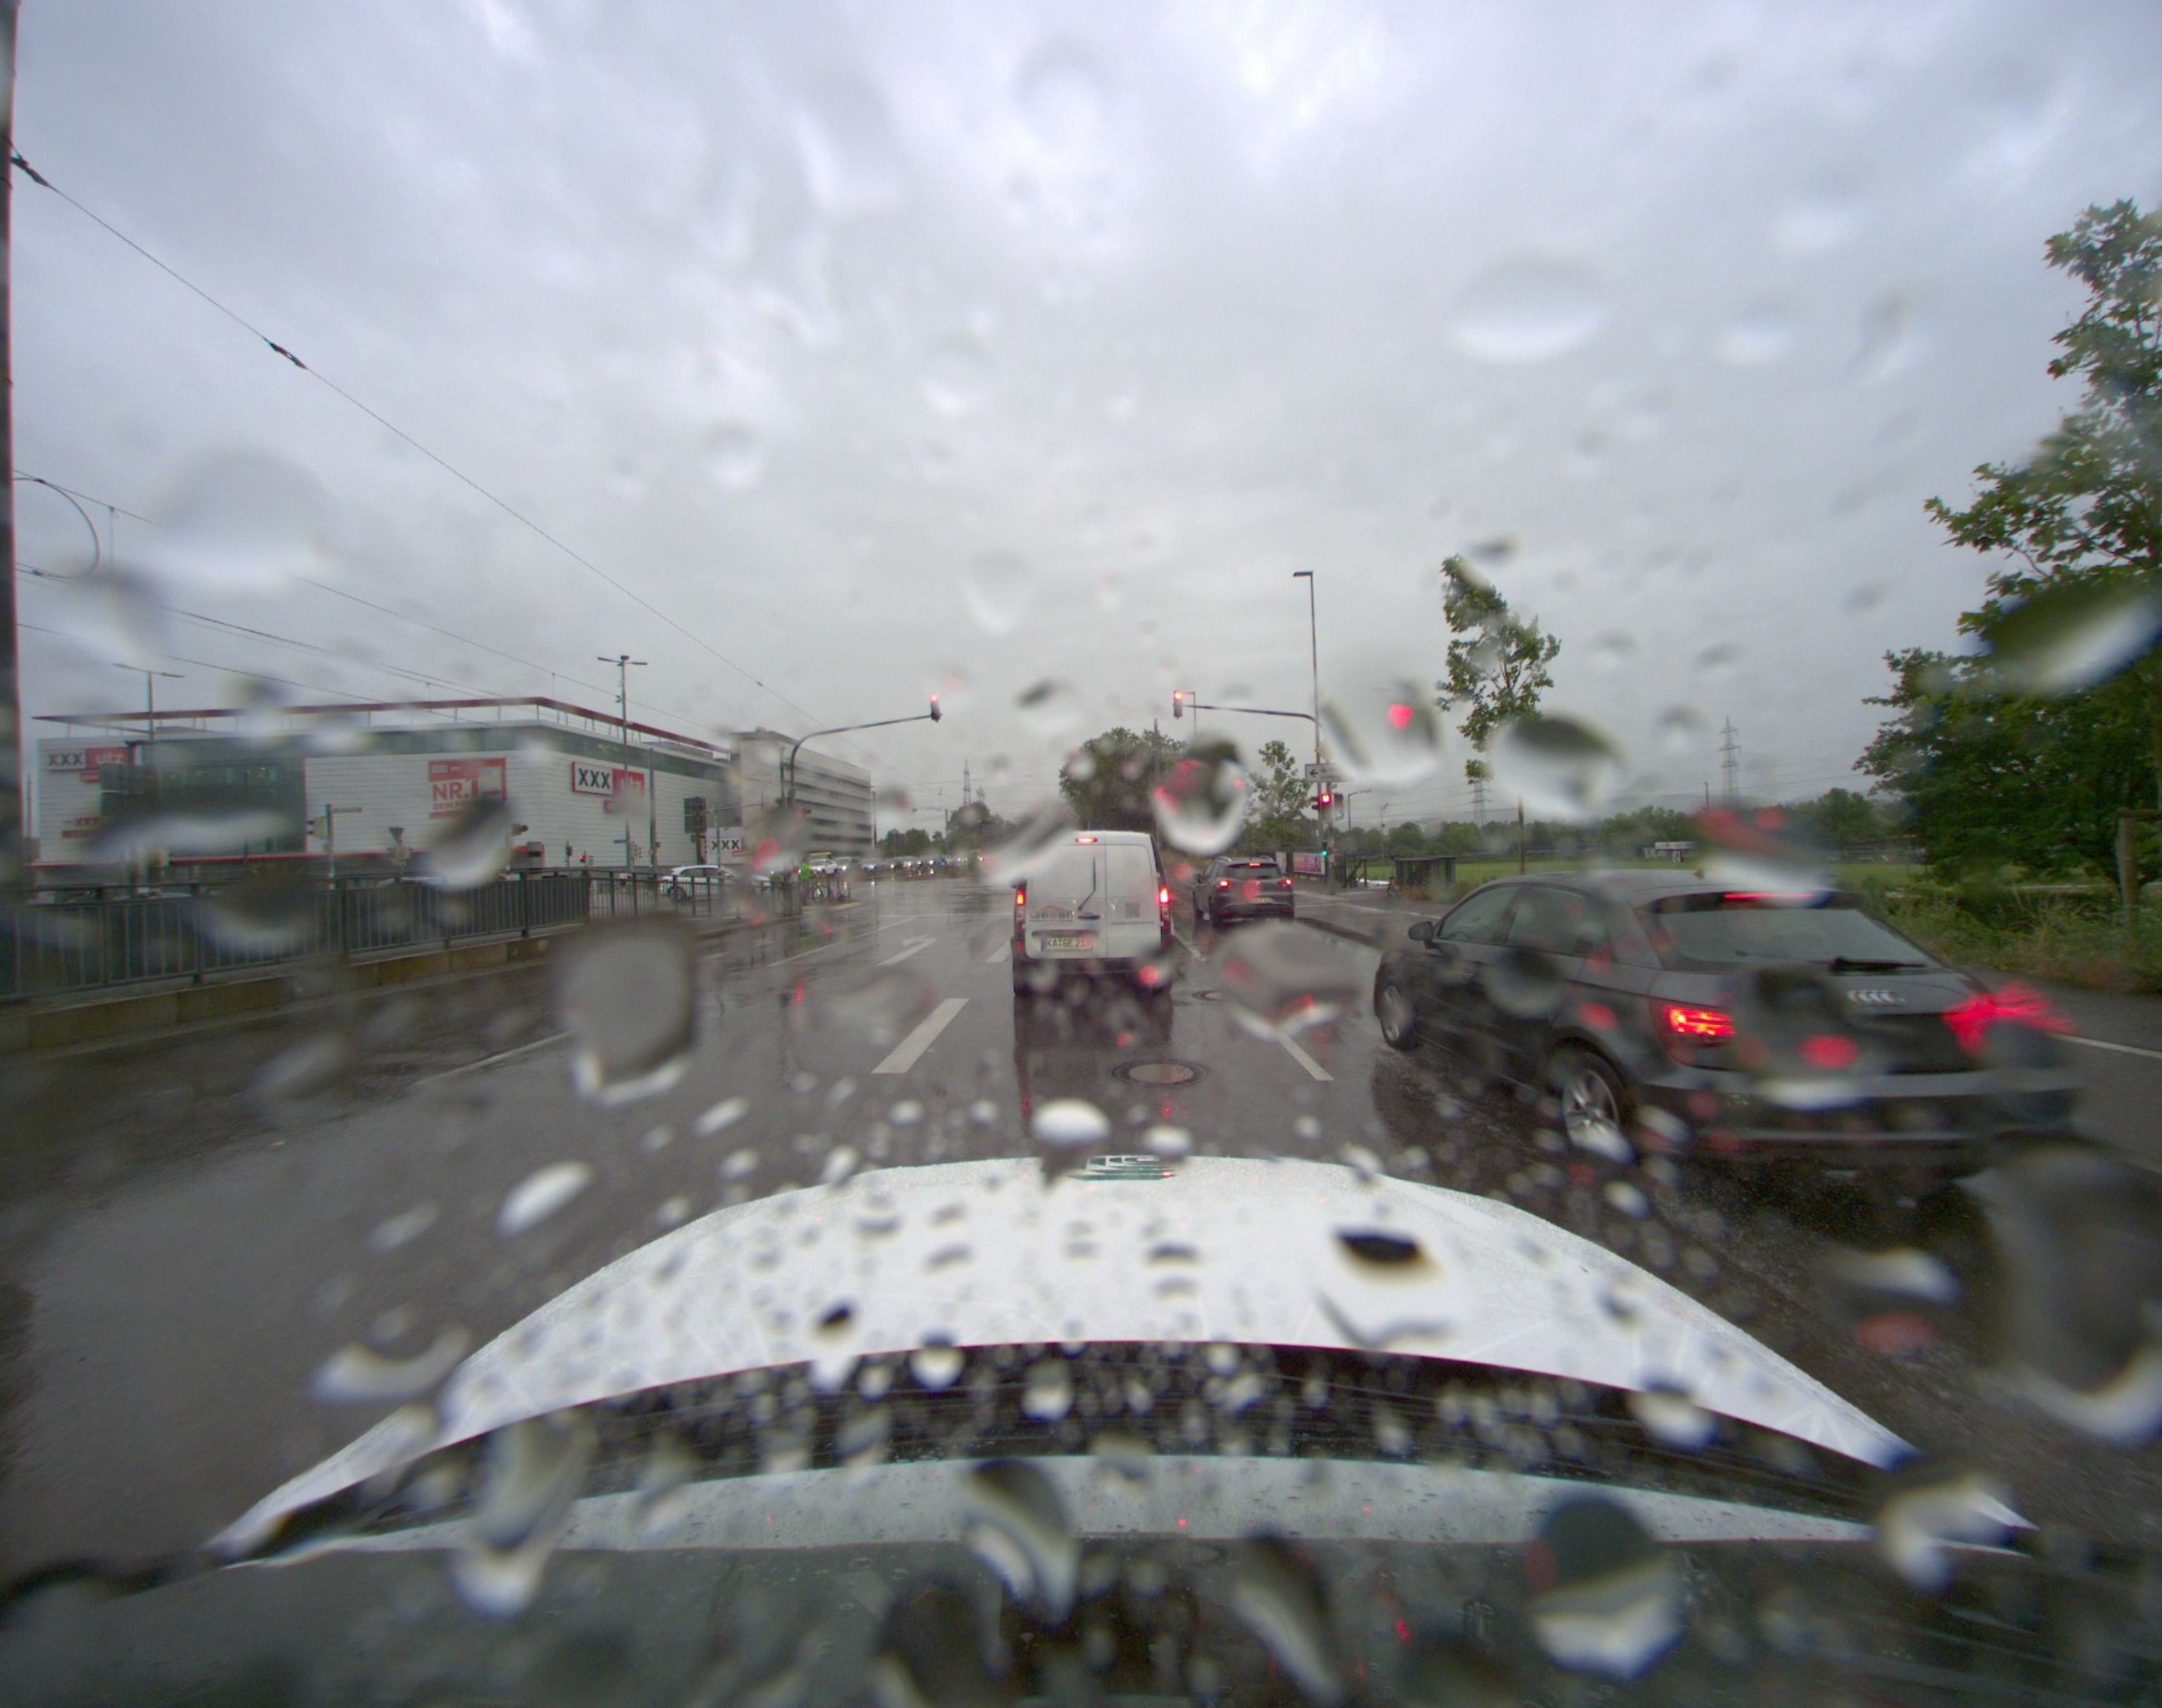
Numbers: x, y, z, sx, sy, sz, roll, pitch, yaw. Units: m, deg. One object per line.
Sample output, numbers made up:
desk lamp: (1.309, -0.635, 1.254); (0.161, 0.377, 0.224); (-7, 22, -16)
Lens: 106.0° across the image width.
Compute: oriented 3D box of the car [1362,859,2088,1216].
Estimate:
car: (3.123, 0.719, 4.970); (1.592, 1.366, 3.631); (0, 0, 0)

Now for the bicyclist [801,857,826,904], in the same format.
bicyclist: (-8.686, 0.851, 26.472); (0.608, 1.491, 0.593); (0, -1, -39)

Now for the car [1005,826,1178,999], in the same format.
car: (0.058, 0.580, 10.423); (1.749, 1.750, 4.166); (-1, 0, -2)

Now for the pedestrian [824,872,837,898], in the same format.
pedestrian: (-8.743, 1.090, 28.430); (0.314, 0.897, 0.380); (1, 0, -1)

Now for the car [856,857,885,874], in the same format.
car: (-18.965, 1.053, 73.508); (1.554, 1.426, 3.570); (1, -1, 2)

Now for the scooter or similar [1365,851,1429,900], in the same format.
scooter or similar: (8.605, 0.551, 22.323); (0.687, 1.211, 3.022); (-2, 0, 3)

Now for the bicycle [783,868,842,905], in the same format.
bicycle: (-8.708, 1.045, 26.471); (1.768, 1.137, 0.514); (0, -1, -41)

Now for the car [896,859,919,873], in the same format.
car: (-18.523, 1.331, 87.073); (1.554, 1.426, 3.570); (1, -1, 2)

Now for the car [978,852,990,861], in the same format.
car: (-16.996, 0.446, 143.356); (1.554, 1.426, 3.570); (1, -1, 2)

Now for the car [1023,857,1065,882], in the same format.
car: (-2.171, 0.943, 49.249); (1.701, 1.451, 4.209); (0, -1, 9)

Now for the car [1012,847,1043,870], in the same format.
car: (-4.168, 0.394, 63.706); (1.940, 1.662, 4.466); (0, -1, 2)

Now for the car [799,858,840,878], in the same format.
car: (-19.347, 1.039, 60.366); (1.704, 1.426, 3.810); (1, -1, 2)

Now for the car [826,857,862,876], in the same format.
car: (-19.250, 1.021, 66.275); (1.704, 1.426, 3.810); (1, -1, 2)

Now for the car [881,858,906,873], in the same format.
car: (-18.517, 1.169, 80.619); (1.554, 1.426, 3.570); (1, -1, 2)

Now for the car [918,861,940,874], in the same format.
car: (-17.634, 1.564, 94.367); (1.704, 1.426, 3.810); (1, -1, 2)

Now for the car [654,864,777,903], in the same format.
car: (-15.076, 1.224, 33.798); (4.258, 1.502, 1.815); (1, -1, -10)

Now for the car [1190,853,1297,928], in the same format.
car: (3.515, 0.747, 18.247); (1.678, 1.508, 3.921); (0, 0, 1)

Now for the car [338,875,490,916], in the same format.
car: (-26.106, 1.603, 31.965); (4.479, 1.502, 1.714); (1, -1, 1)
